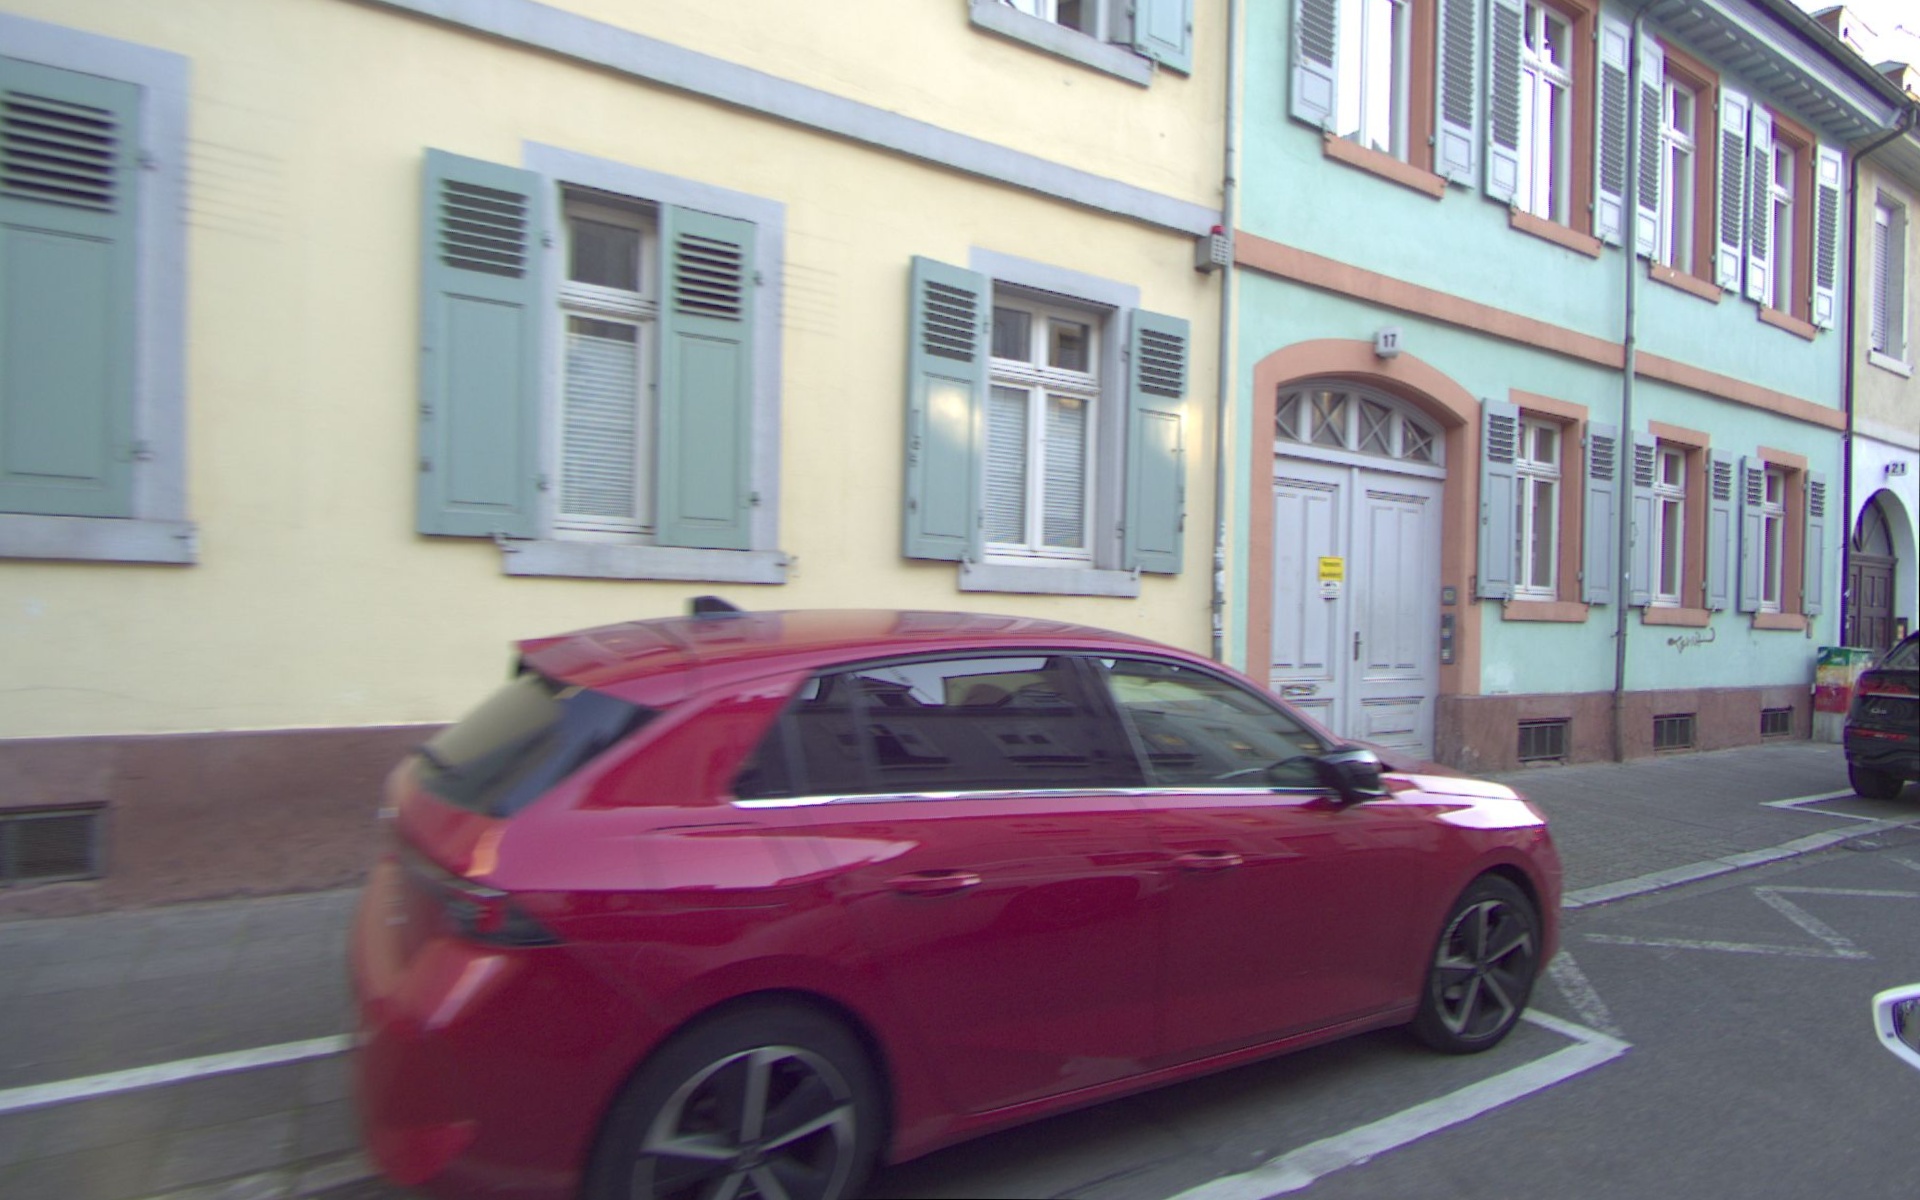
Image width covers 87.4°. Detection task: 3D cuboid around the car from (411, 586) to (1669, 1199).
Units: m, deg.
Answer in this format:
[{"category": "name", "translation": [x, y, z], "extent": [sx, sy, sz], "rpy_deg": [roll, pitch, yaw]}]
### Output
[{"category": "car", "translation": [0.472, 0.744, 3.578], "extent": [4.213, 1.420, 1.756], "rpy_deg": [2, 0, -30]}]

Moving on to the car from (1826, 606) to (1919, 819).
[{"category": "car", "translation": [9.766, 0.964, 8.876], "extent": [4.435, 1.699, 1.795], "rpy_deg": [2, -1, -29]}]
